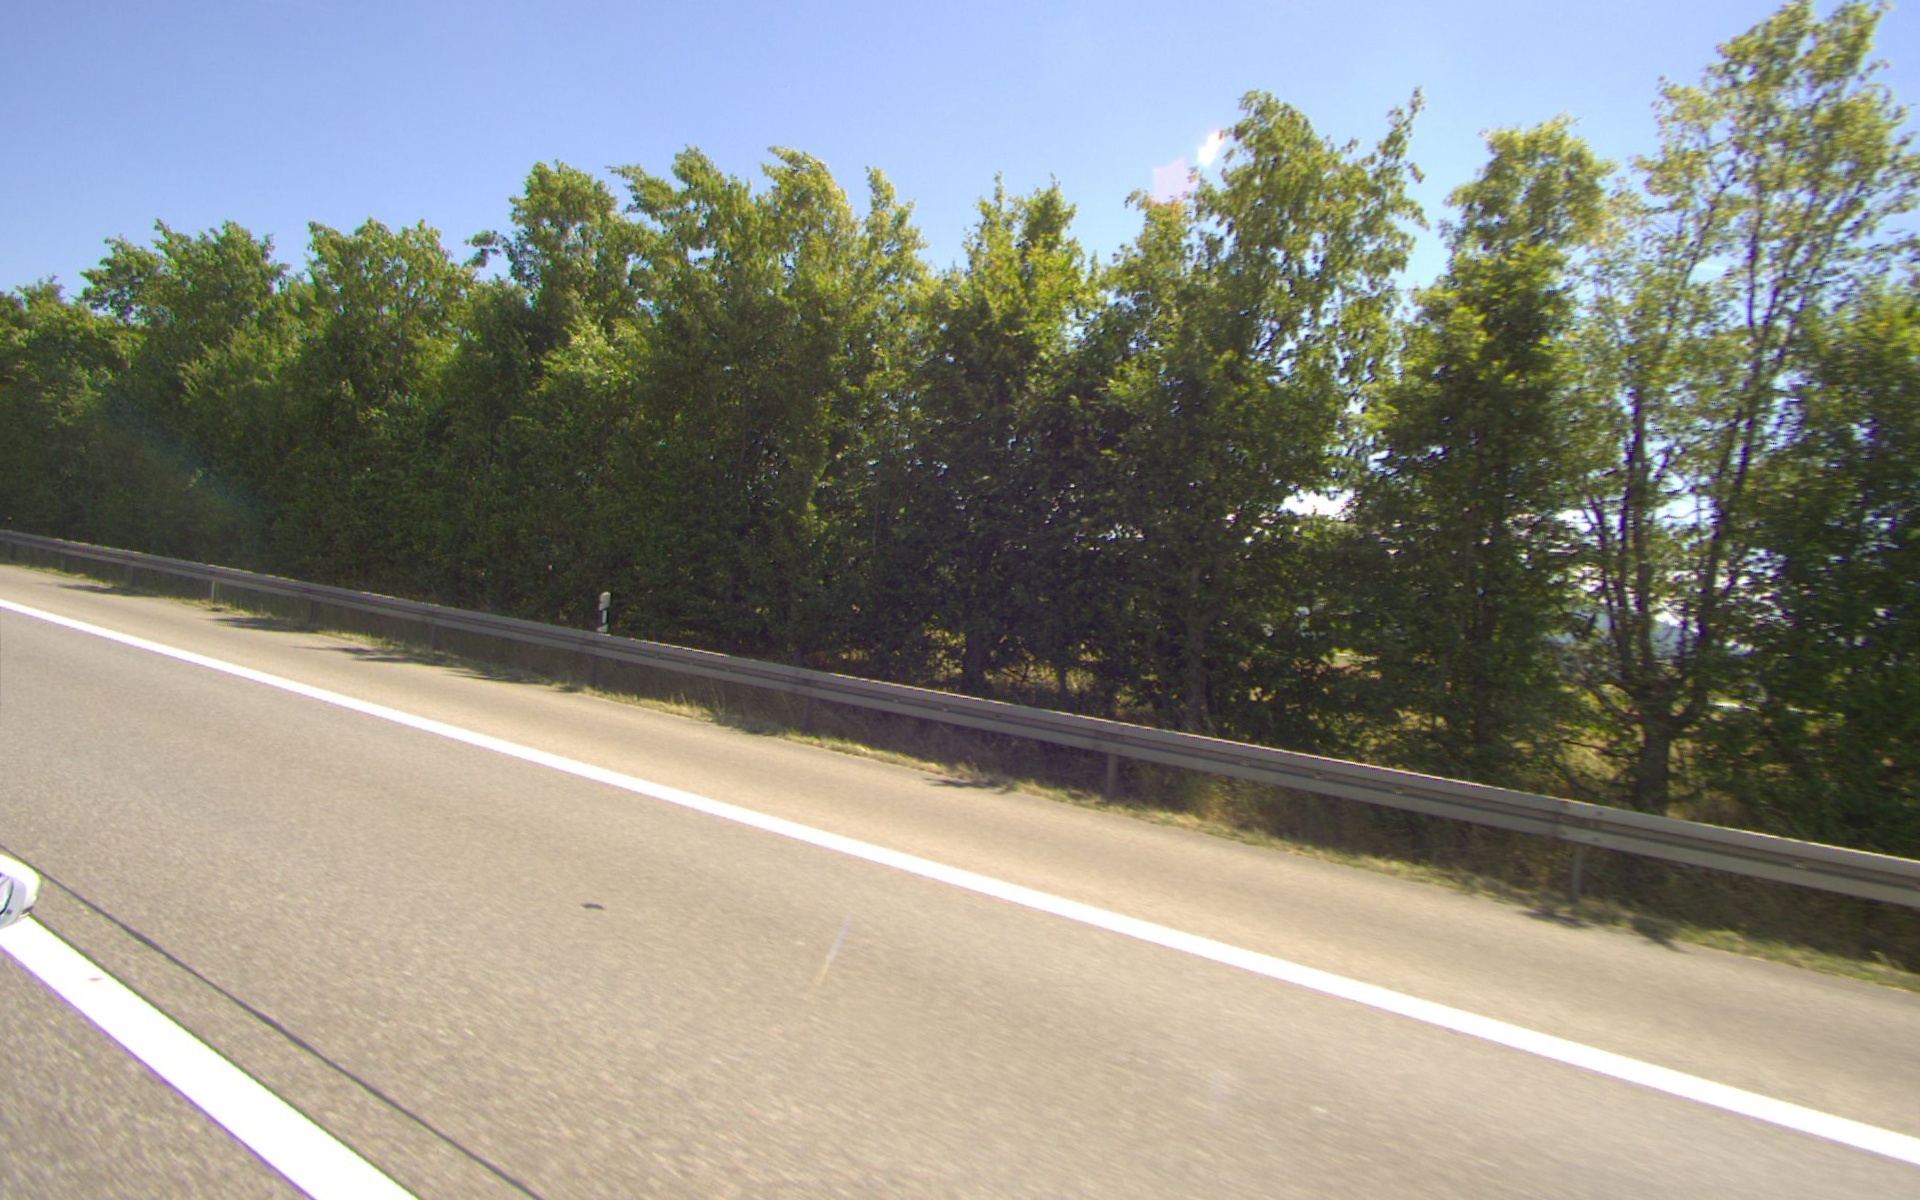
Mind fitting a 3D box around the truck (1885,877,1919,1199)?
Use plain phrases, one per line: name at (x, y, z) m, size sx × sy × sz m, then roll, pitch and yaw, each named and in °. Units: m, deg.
truck at (5.097, 0.125, 0.447) m, size 6.215 × 4.109 × 2.475 m, roll 6°, pitch -2°, yaw 32°
